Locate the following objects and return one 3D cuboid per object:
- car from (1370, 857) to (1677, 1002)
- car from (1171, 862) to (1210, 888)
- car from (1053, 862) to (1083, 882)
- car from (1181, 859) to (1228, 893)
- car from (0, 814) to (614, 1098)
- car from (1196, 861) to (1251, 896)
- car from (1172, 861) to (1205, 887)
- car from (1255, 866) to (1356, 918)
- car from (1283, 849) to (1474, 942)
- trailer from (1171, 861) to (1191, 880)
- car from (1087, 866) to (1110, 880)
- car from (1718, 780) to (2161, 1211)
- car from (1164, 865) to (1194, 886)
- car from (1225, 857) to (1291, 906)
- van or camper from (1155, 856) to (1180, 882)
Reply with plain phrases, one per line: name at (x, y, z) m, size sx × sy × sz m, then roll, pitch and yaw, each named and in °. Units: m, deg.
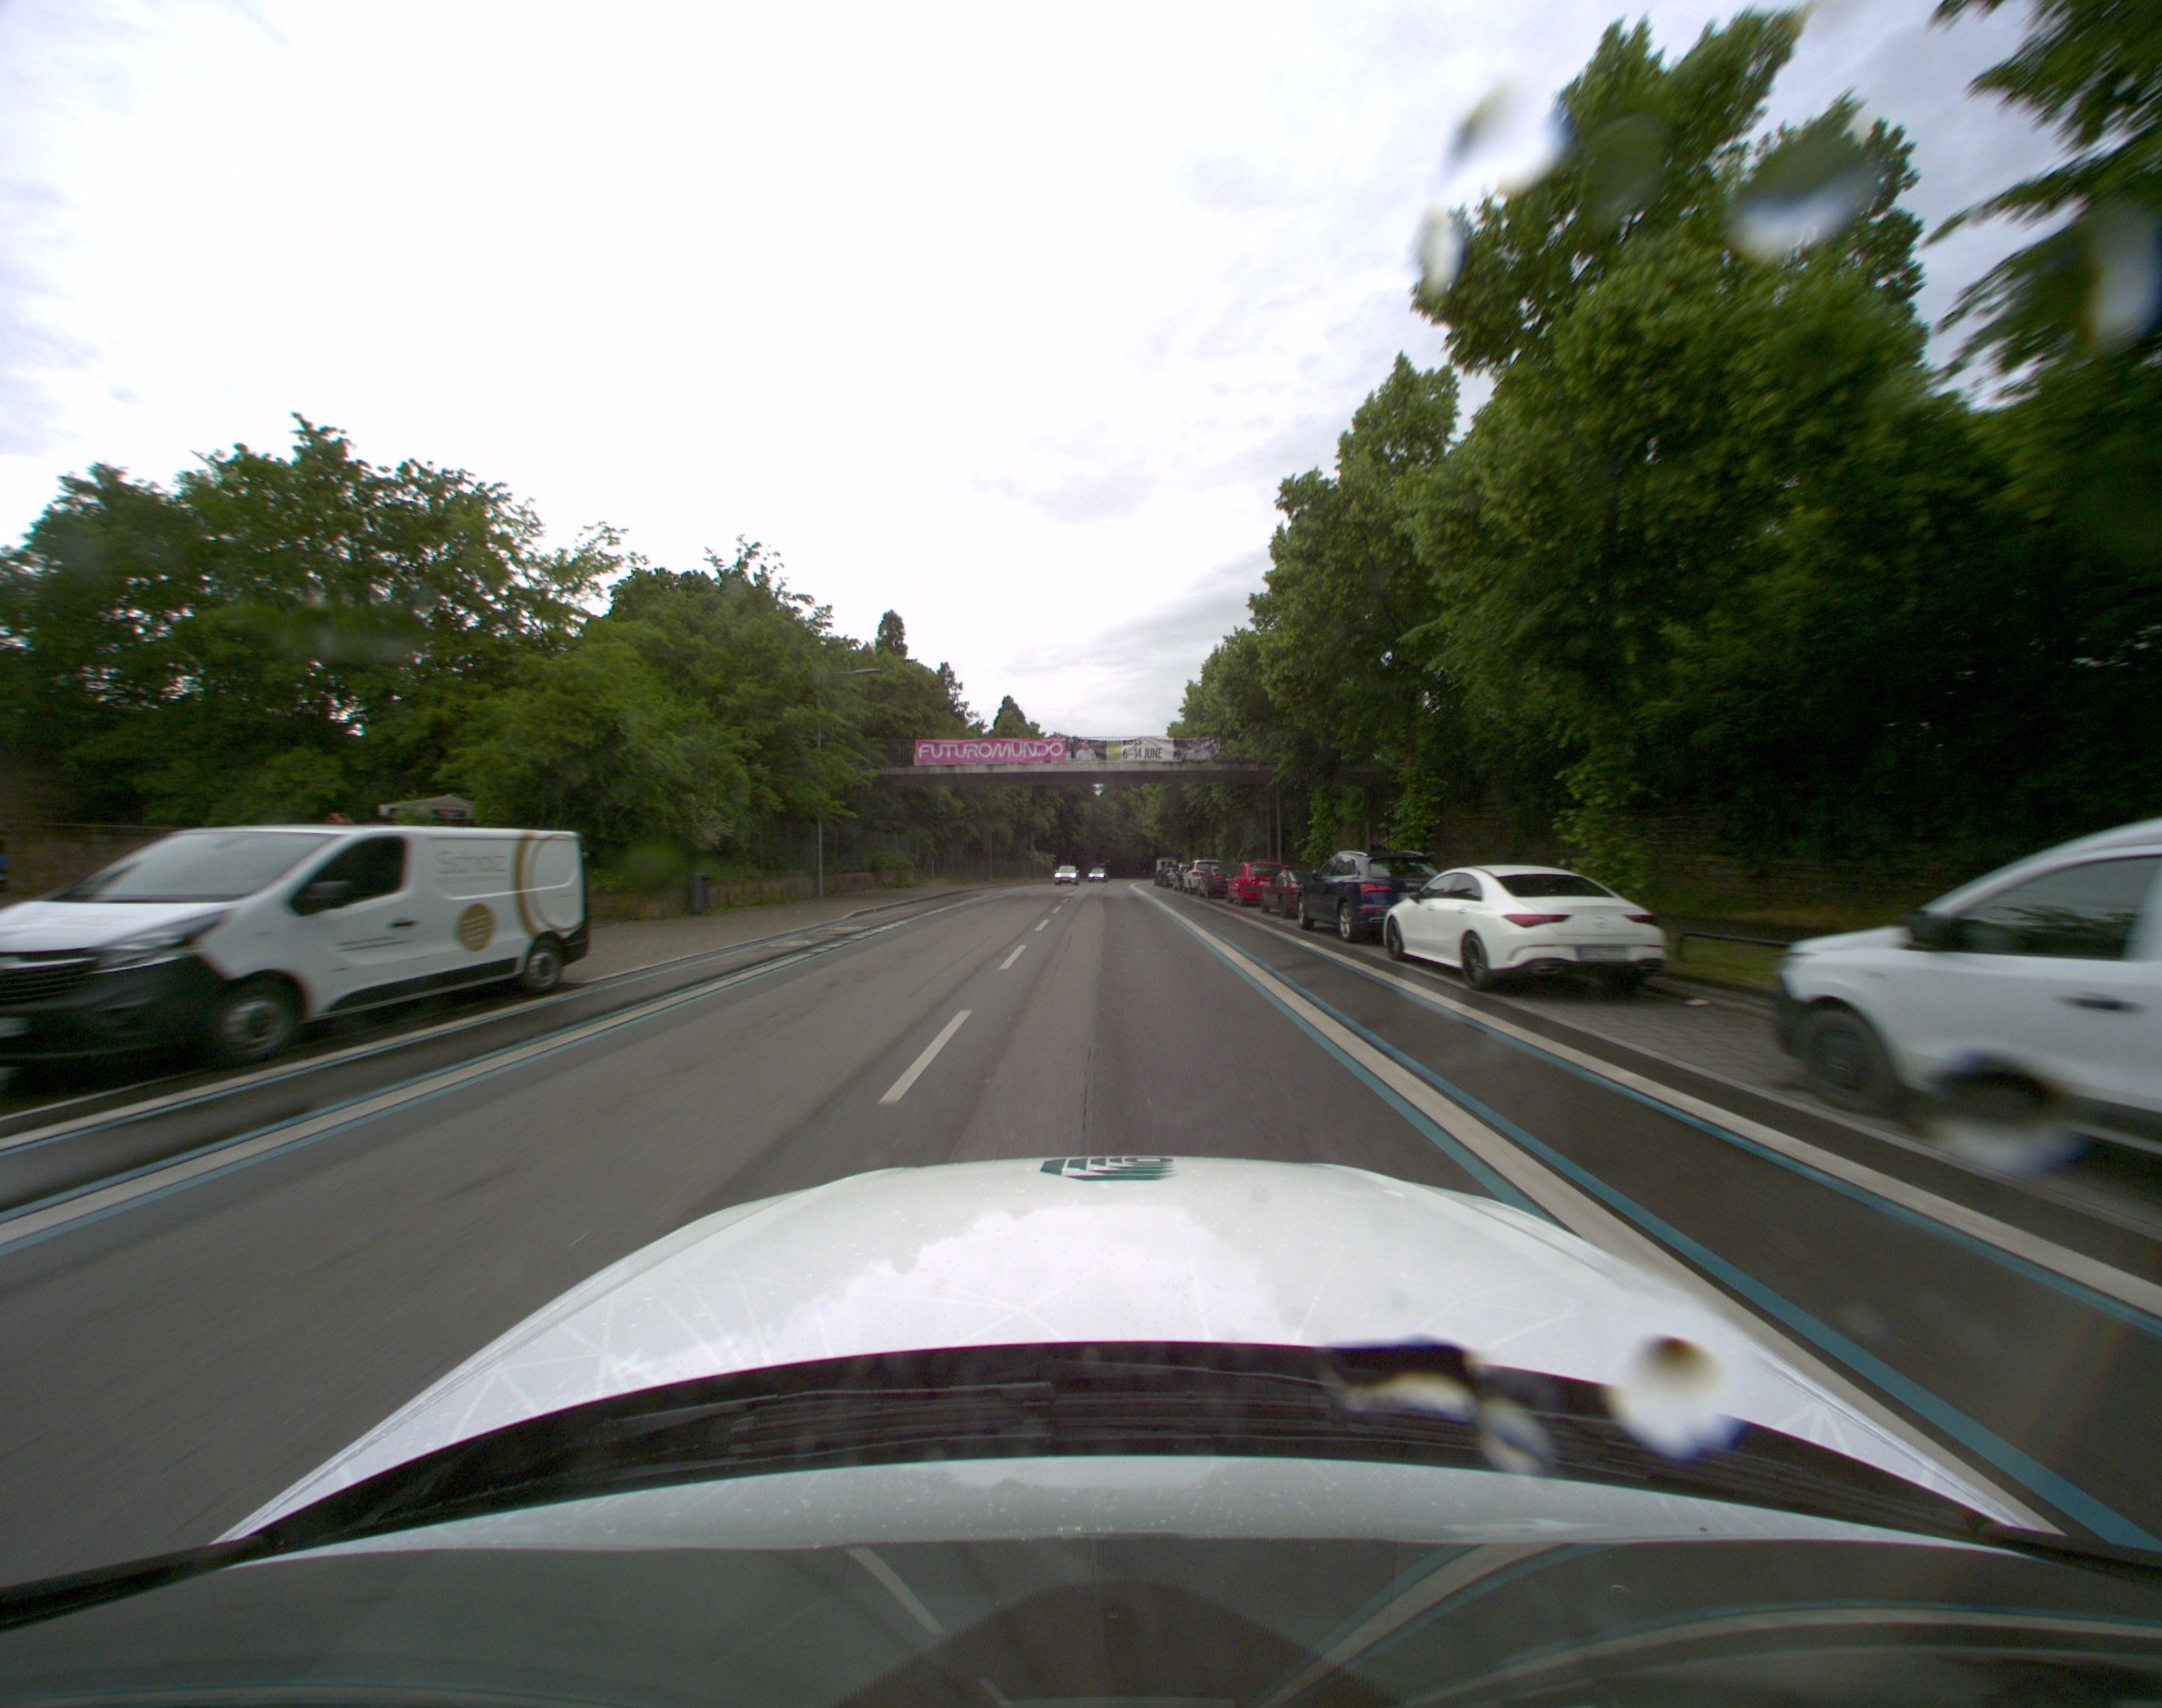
car at (5.336, 0.781, 10.616) m, size 1.653 × 1.426 × 4.620 m, roll 0°, pitch 0°, yaw 2°
car at (6.213, 1.238, 46.559) m, size 1.712 × 1.376 × 4.558 m, roll 0°, pitch -3°, yaw 1°
car at (-1.018, 1.430, 65.723) m, size 1.961 × 1.552 × 3.877 m, roll 0°, pitch -1°, yaw 7°
car at (6.035, 1.084, 40.227) m, size 1.708 × 1.619 × 4.260 m, roll 0°, pitch -1°, yaw 0°
car at (-7.310, 0.661, 8.131) m, size 1.970 × 1.914 × 5.233 m, roll 0°, pitch 1°, yaw 4°
car at (5.960, 1.037, 34.509) m, size 1.667 × 1.394 × 4.450 m, roll 0°, pitch -2°, yaw 1°
car at (6.716, 1.261, 51.164) m, size 1.655 × 1.535 × 3.742 m, roll 1°, pitch -2°, yaw 2°
car at (5.932, 0.960, 21.995) m, size 1.620 × 1.190 × 4.183 m, roll 0°, pitch 0°, yaw 1°
car at (5.599, 0.689, 16.044) m, size 1.988 × 1.560 × 4.640 m, roll 0°, pitch 0°, yaw -2°
trailer at (14.246, 2.343, 115.769) m, size 2.301 × 2.672 × 5.393 m, roll 0°, pitch -1°, yaw 12°
car at (2.029, 2.202, 92.332) m, size 1.784 × 1.577 × 4.115 m, roll -1°, pitch -2°, yaw 12°
car at (5.354, 0.585, 3.636) m, size 1.716 × 1.790 × 4.347 m, roll 0°, pitch 0°, yaw 1°
car at (6.728, 1.478, 56.166) m, size 1.767 × 1.348 × 4.469 m, roll 1°, pitch -2°, yaw 3°
car at (5.949, 0.891, 27.743) m, size 1.553 × 1.466 × 3.627 m, roll 0°, pitch 1°, yaw 2°
van or camper at (9.306, 1.609, 87.079) m, size 2.303 × 2.665 × 6.397 m, roll 0°, pitch -1°, yaw 9°
